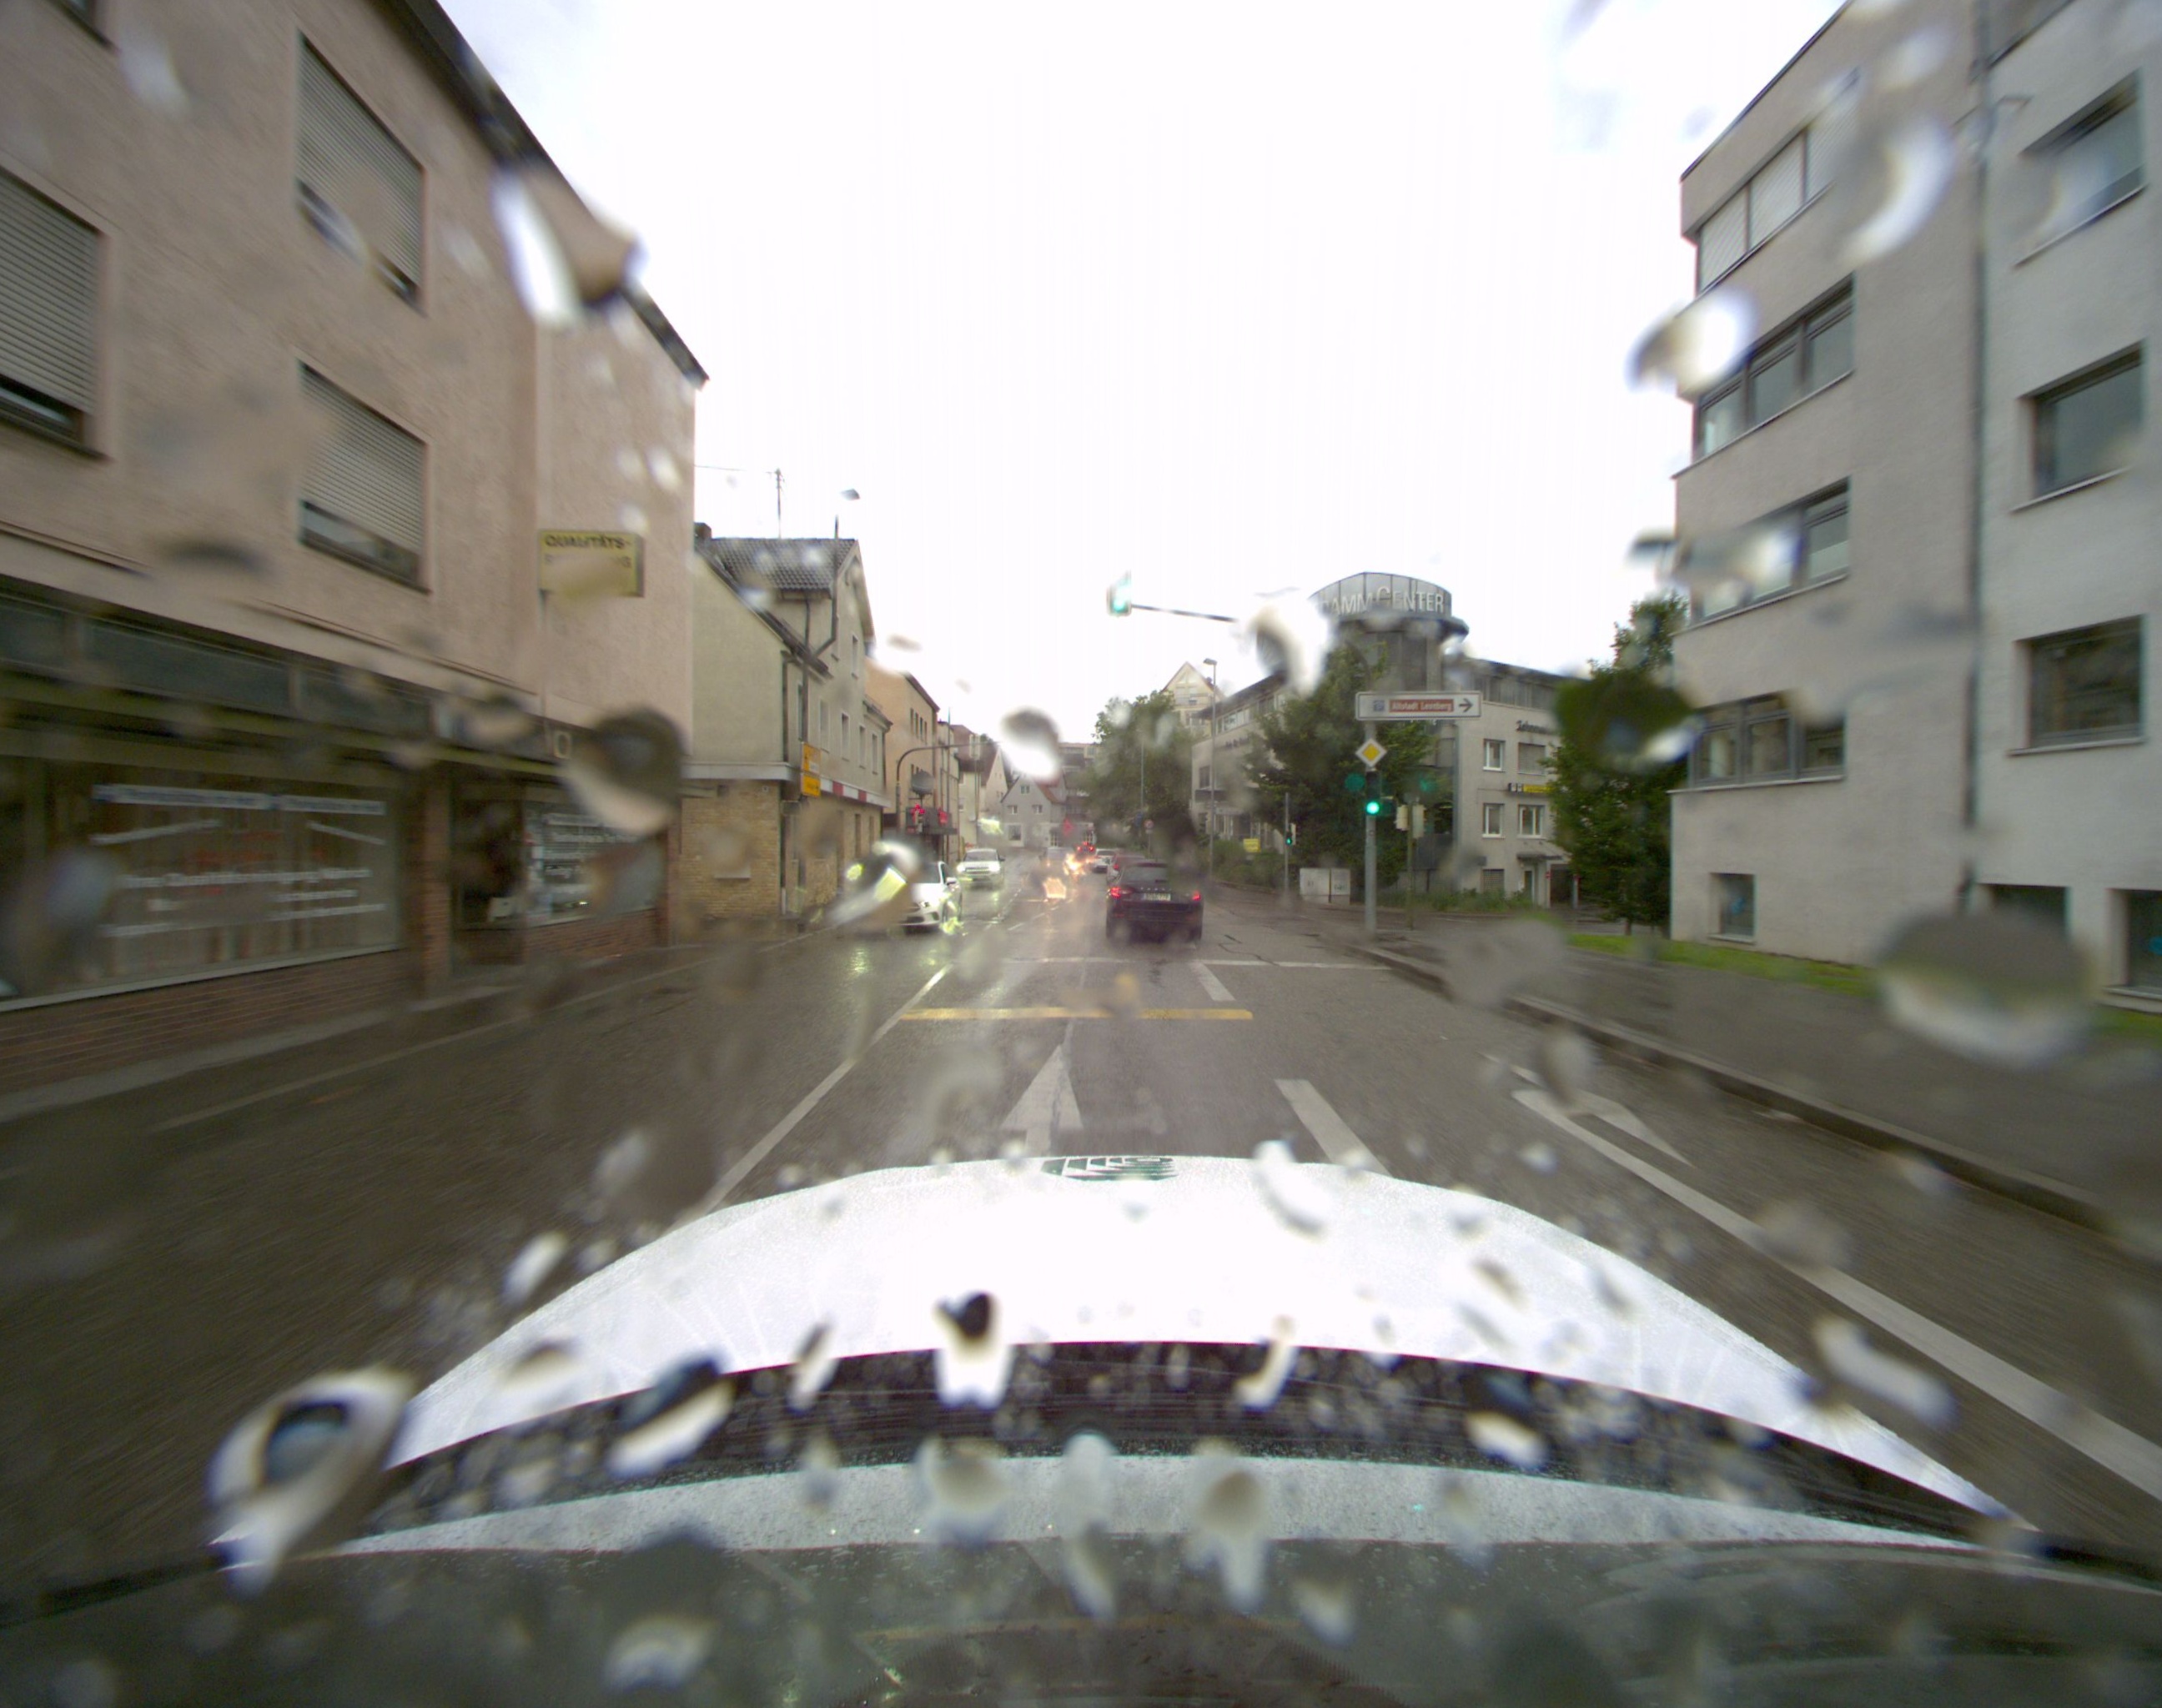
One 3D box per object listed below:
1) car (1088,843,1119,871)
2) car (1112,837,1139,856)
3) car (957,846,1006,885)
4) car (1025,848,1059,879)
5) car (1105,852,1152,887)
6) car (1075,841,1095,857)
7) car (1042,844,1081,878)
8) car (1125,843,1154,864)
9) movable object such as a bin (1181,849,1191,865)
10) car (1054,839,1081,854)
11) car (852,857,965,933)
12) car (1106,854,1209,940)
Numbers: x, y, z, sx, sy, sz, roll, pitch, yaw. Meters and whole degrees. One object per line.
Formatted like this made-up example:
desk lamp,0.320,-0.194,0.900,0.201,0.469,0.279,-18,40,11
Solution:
car,1.367,0.218,50.604,1.722,1.591,4.182,1,-2,0
car,3.889,-0.666,72.023,1.849,1.641,3.865,-1,1,-5
car,-4.305,0.460,35.728,1.780,1.560,4.332,0,1,-3
car,-2.198,0.484,45.682,1.780,1.562,4.397,1,1,-3
car,2.001,0.631,35.267,1.812,1.359,3.989,0,0,0
car,0.394,-0.474,84.879,1.889,1.590,3.684,-1,0,-3
car,-1.038,0.326,40.869,1.780,1.562,4.397,1,1,-3
car,4.697,-0.057,66.143,1.849,1.641,3.532,-1,1,-5
movable object such as a bin,6.534,0.192,50.811,0.507,0.945,0.605,3,5,16
car,-1.711,-0.922,99.328,1.903,1.682,3.656,-1,0,-27
car,-3.614,0.797,17.793,1.686,1.373,4.110,-1,1,-2
car,1.413,0.760,16.465,1.775,1.483,4.247,1,0,1
